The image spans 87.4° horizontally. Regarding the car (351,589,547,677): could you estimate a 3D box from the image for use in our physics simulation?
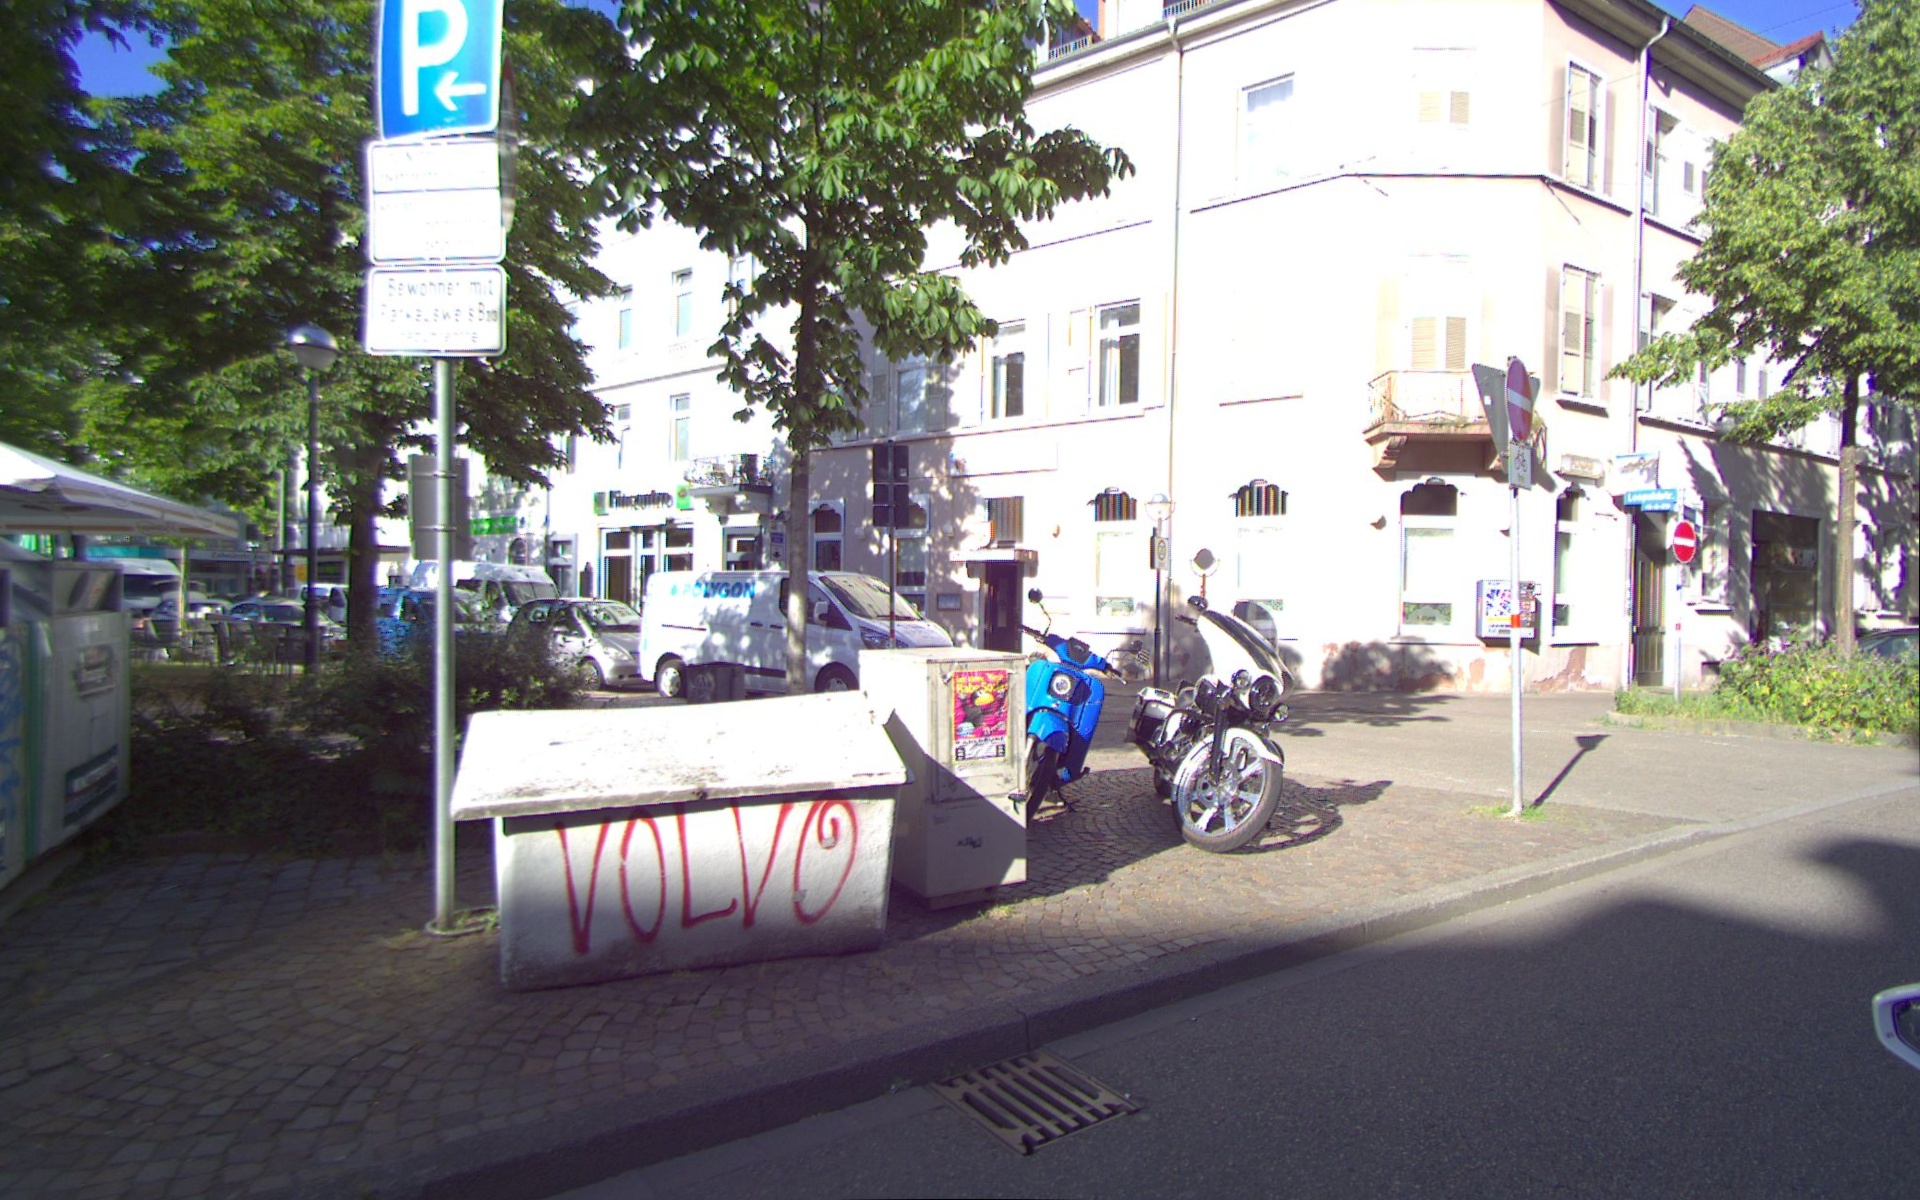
[{"bbox_3d":[-10.582,0.645,20.725,4.083,1.634,1.922,0,-1,35],"label":"car"}]

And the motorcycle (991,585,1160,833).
[{"bbox_3d":[0.704,0.644,6.775,0.813,1.442,1.754,1,0,-3],"label":"motorcycle"}]

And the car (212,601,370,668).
[{"bbox_3d":[-16.677,0.824,25.004,4.083,1.537,1.922,0,-1,35],"label":"car"}]

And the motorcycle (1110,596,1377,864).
[{"bbox_3d":[1.715,0.707,6.614,0.981,1.442,2.321,1,0,-3],"label":"motorcycle"}]

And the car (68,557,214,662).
[{"bbox_3d":[-26.497,0.320,32.417,5.799,3.126,2.112,0,-1,35],"label":"car"}]

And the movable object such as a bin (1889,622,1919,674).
[{"bbox_3d":[26.275,1.306,27.499,1.328,1.380,0.814,1,0,-27],"label":"movable object such as a bin"}]

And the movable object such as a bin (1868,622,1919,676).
[{"bbox_3d":[25.126,1.294,26.873,1.232,1.373,0.826,1,0,-27],"label":"movable object such as a bin"}]

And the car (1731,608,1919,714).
[{"bbox_3d":[16.131,1.026,17.394,1.920,1.662,3.971,1,0,-28],"label":"car"}]

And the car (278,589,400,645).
[{"bbox_3d":[-21.268,0.572,34.343,4.512,1.812,1.922,0,-1,35],"label":"car"}]

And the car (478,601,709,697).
[{"bbox_3d":[-6.615,0.806,18.008,4.083,1.537,1.922,0,-1,35],"label":"car"}]

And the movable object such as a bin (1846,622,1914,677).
[{"bbox_3d":[24.032,1.277,26.235,1.245,1.385,0.906,1,0,-27],"label":"movable object such as a bin"}]

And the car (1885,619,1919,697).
[{"bbox_3d":[21.010,1.212,19.341,1.920,1.565,4.322,1,0,-28],"label":"car"}]

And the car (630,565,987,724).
[{"bbox_3d":[-2.345,0.586,14.829,5.240,1.970,2.068,0,-1,35],"label":"car"}]

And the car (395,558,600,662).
[{"bbox_3d":[-13.549,0.304,29.216,6.902,2.737,2.207,0,-1,35],"label":"car"}]
